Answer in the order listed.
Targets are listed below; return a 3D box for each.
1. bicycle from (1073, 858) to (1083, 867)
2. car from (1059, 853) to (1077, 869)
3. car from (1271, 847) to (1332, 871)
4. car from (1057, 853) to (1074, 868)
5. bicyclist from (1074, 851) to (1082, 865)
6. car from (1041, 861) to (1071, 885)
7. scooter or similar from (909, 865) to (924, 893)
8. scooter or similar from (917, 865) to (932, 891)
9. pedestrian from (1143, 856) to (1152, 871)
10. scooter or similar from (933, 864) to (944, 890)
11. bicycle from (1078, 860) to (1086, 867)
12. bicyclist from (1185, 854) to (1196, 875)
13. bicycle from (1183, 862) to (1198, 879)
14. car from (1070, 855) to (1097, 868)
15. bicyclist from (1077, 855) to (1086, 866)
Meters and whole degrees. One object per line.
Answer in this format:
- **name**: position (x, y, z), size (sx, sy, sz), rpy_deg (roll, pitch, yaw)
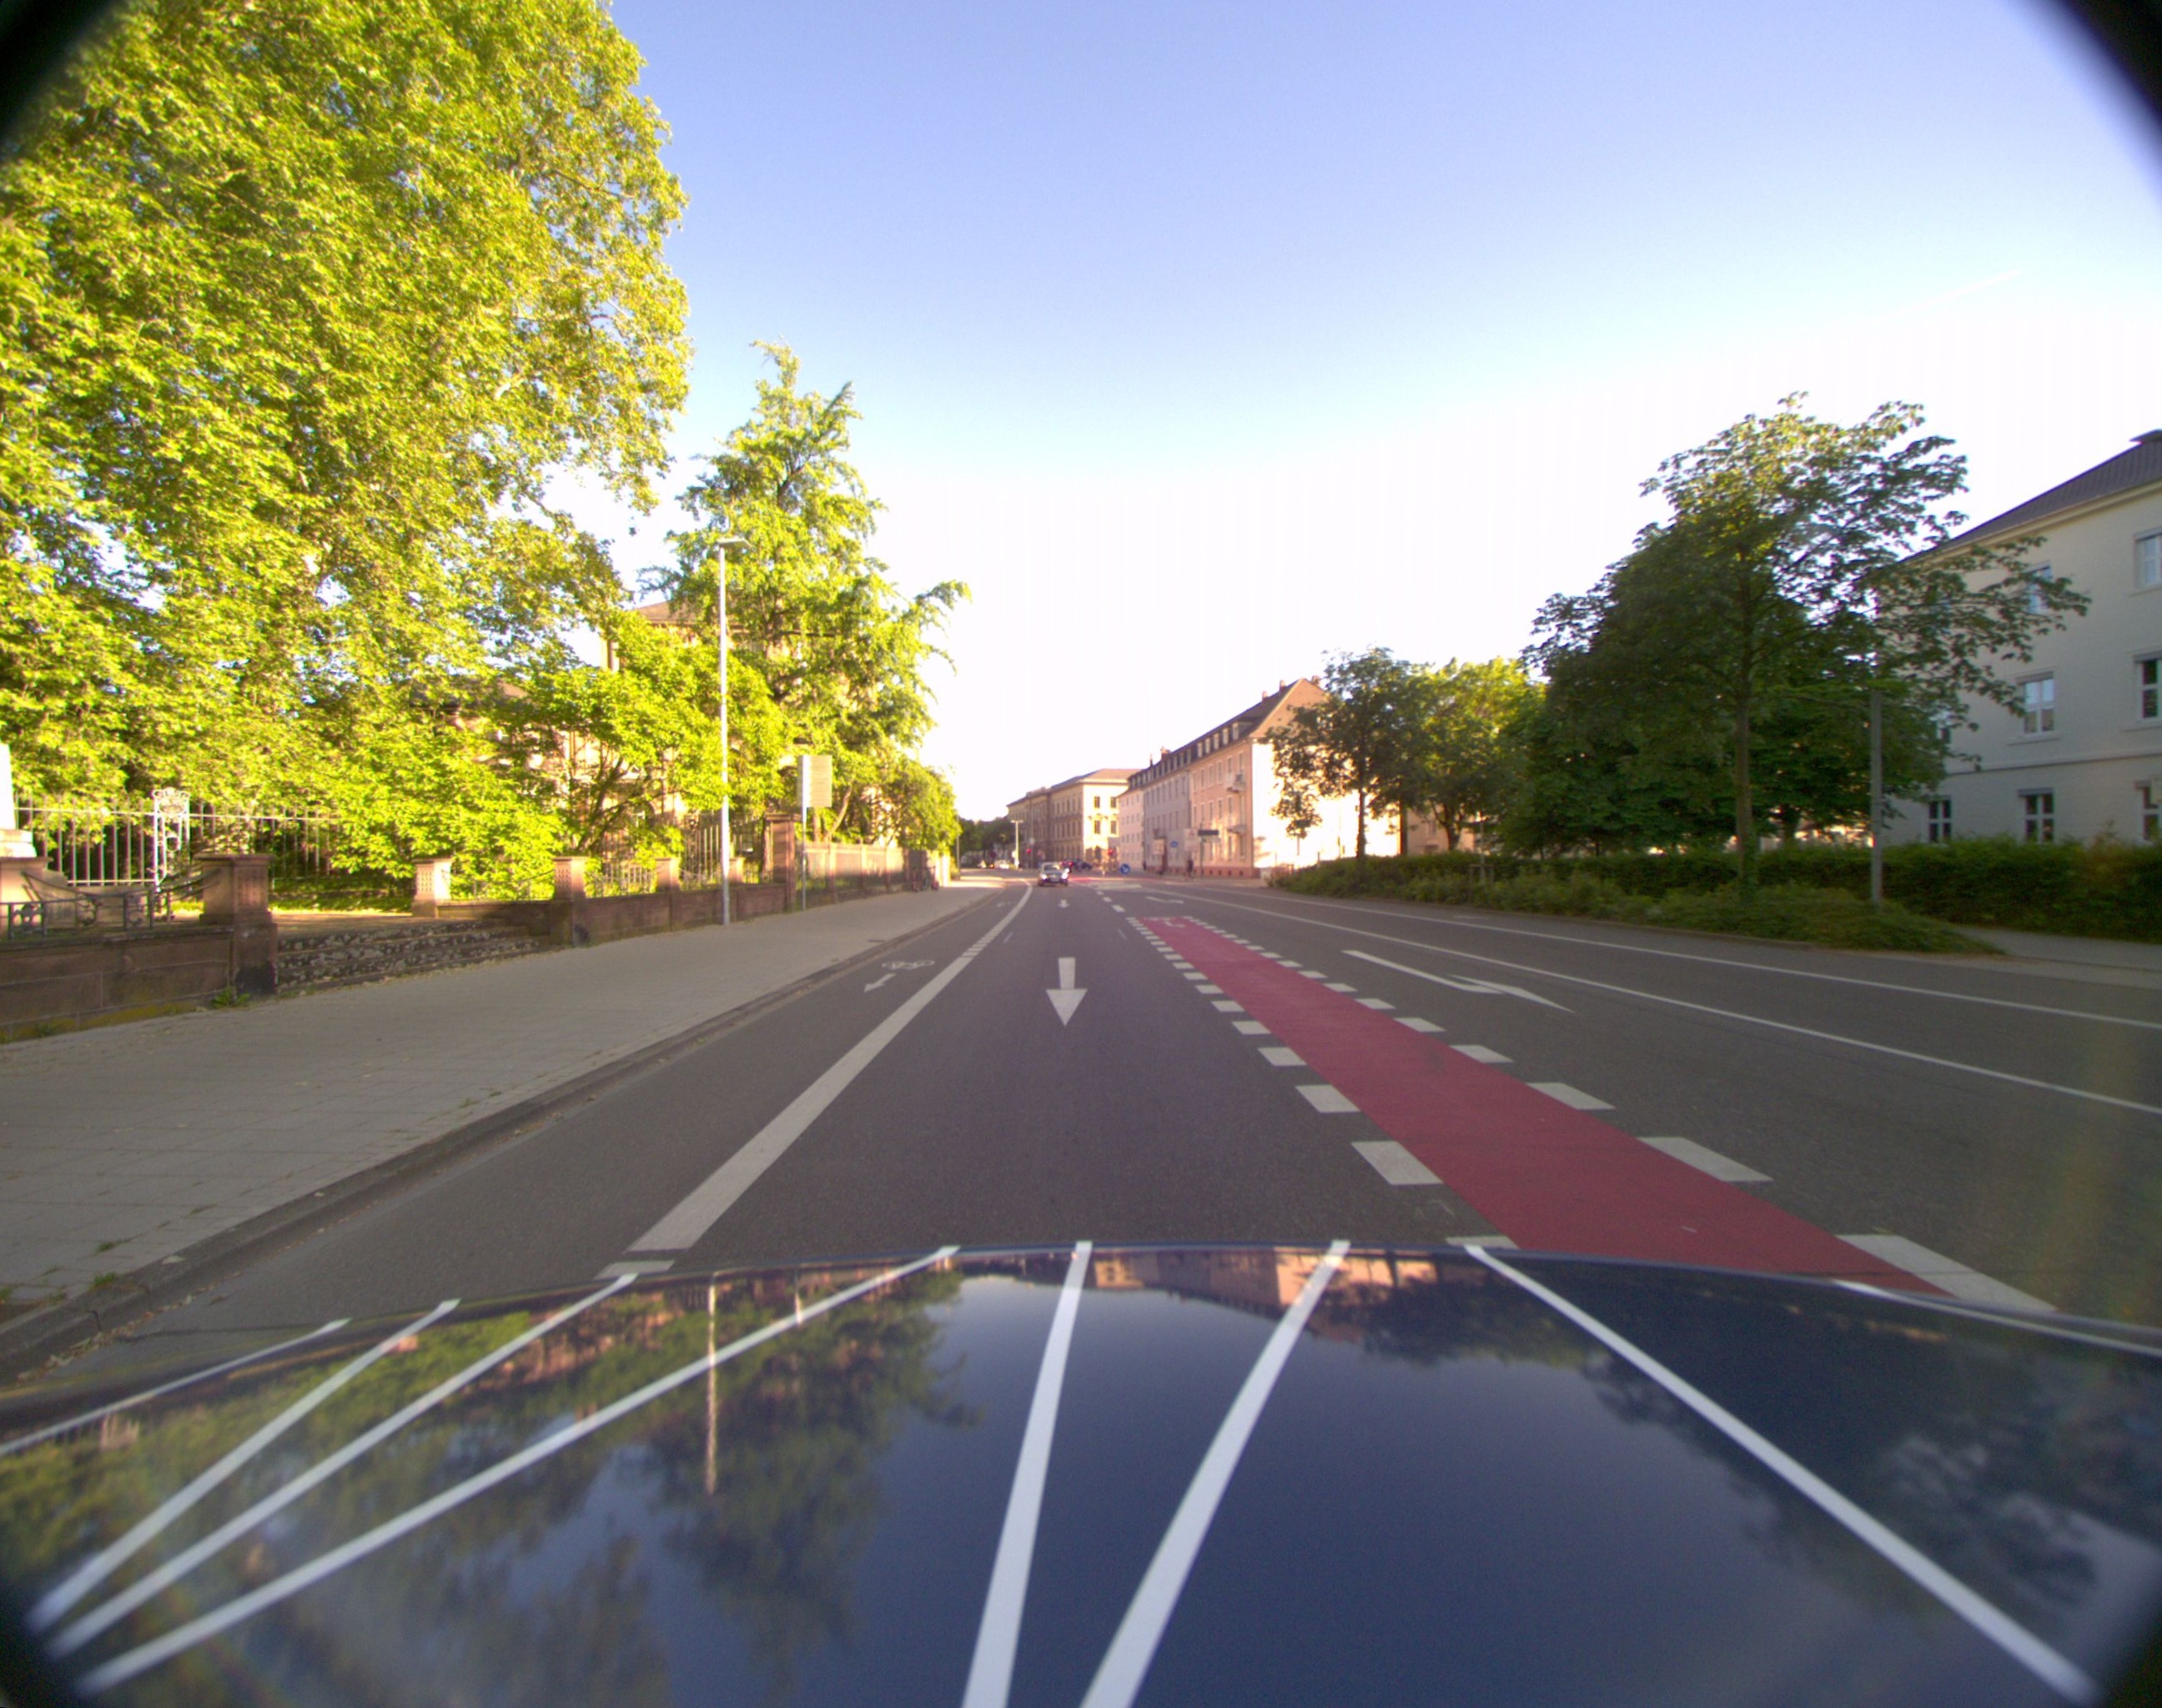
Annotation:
- **bicycle**: position (-0.418, 1.208, 109.175), size (0.956, 1.216, 2.777), rpy_deg (0, 0, -9)
- **car**: position (-1.641, 0.859, 96.436), size (1.999, 2.002, 3.998), rpy_deg (0, 0, -5)
- **car**: position (16.678, 0.339, 57.547), size (4.000, 1.652, 1.998), rpy_deg (-2, 1, -9)
- **car**: position (-2.141, 0.878, 102.127), size (1.999, 2.002, 3.998), rpy_deg (0, 0, -5)
- **bicyclist**: position (-0.398, 0.569, 109.049), size (0.956, 2.002, 1.307), rpy_deg (0, 0, -9)
- **car**: position (-1.624, 1.136, 47.507), size (1.710, 1.397, 4.263), rpy_deg (0, 0, -4)
- **scooter or similar**: position (-7.542, 1.130, 34.854), size (0.577, 1.246, 1.486), rpy_deg (0, 0, -15)
- **scooter or similar**: position (-7.556, 1.144, 36.706), size (0.576, 1.177, 1.487), rpy_deg (0, 0, -7)
- **pedestrian**: position (8.556, 1.163, 97.351), size (0.949, 1.894, 1.062), rpy_deg (-2, 1, -7)
- **scooter or similar**: position (-7.082, 1.134, 37.788), size (0.517, 1.233, 1.521), rpy_deg (0, 0, -11)
- **bicycle**: position (0.096, 1.321, 103.062), size (0.663, 0.907, 2.861), rpy_deg (0, 0, -9)
- **bicyclist**: position (8.075, 0.759, 56.079), size (0.691, 1.553, 0.838), rpy_deg (1, 0, -3)
- **bicycle**: position (8.070, 1.214, 56.112), size (0.697, 1.152, 2.245), rpy_deg (1, 0, -3)
- **car**: position (0.397, 1.256, 127.844), size (4.513, 2.093, 2.000), rpy_deg (0, 0, -1)
- **bicyclist**: position (0.100, 0.943, 103.011), size (1.026, 1.481, 0.870), rpy_deg (0, 0, -9)
